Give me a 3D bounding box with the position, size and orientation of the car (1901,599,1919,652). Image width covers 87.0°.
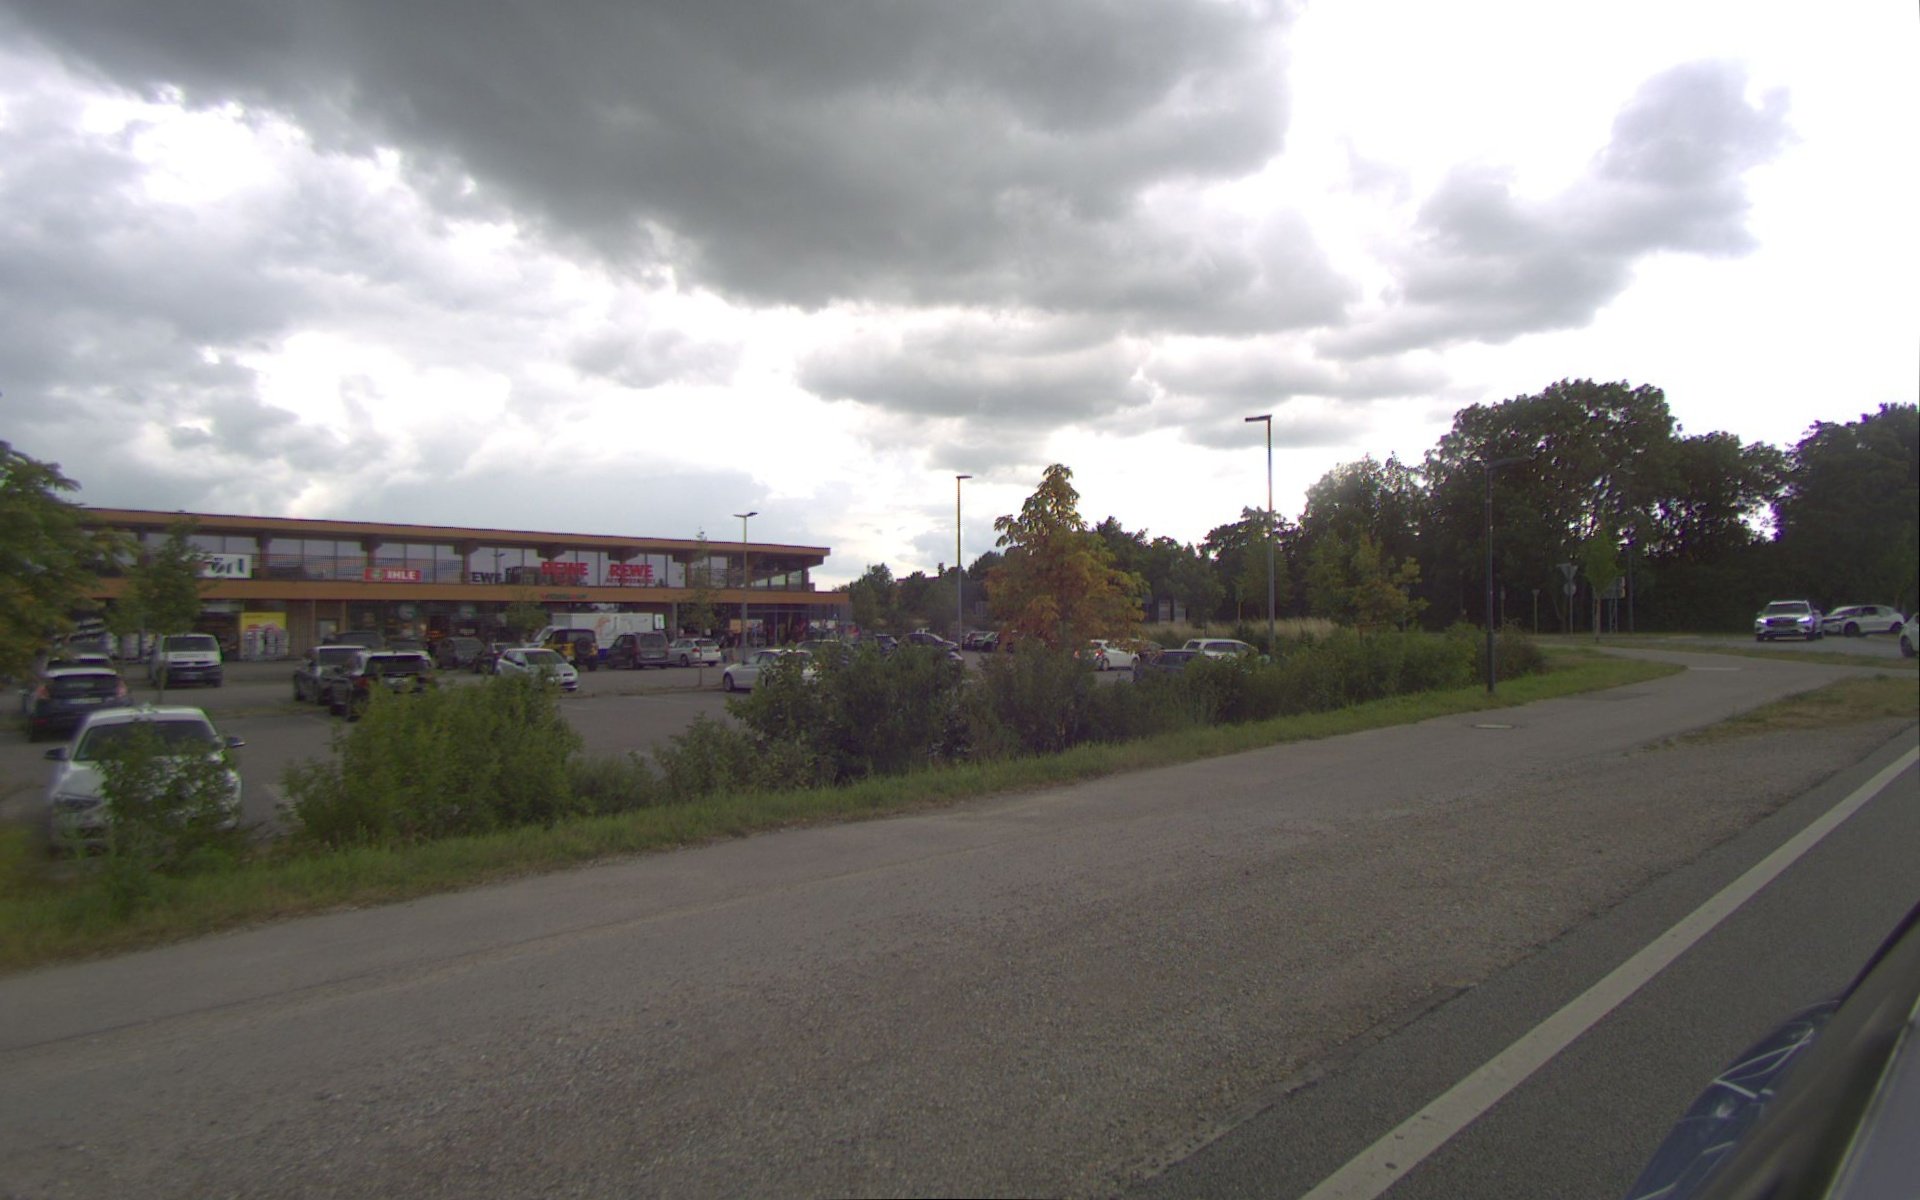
[{"bbox_3d":[28.907,0.749,28.490,1.846,1.561,4.176,-1,-1,17],"label":"car"}]

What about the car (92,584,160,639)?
[{"bbox_3d":[-33.703,0.411,40.844,1.965,2.039,5.137,1,1,-41],"label":"car"}]

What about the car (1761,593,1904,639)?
[{"bbox_3d":[34.728,0.607,40.436,3.965,1.705,1.979,1,0,29],"label":"car"}]

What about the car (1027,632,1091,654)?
[{"bbox_3d":[6.614,2.859,67.734,3.916,1.377,1.705,1,0,-13],"label":"car"}]

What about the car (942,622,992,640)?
[{"bbox_3d":[0.579,2.599,84.200,3.916,1.377,1.705,1,0,-13],"label":"car"}]

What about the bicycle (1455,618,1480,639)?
[{"bbox_3d":[25.267,1.415,50.374,0.557,0.974,1.301,1,0,0],"label":"bicycle"}]

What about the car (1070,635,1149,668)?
[{"bbox_3d":[7.280,2.451,49.100,1.839,1.377,3.935,1,1,45],"label":"car"}]

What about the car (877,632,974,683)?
[{"bbox_3d":[-1.284,2.067,36.887,1.771,1.728,3.385,1,-3,-41],"label":"car"}]

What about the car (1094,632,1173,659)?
[{"bbox_3d":[9.500,2.477,55.465,3.916,1.377,1.705,1,0,-13],"label":"car"}]

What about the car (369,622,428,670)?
[{"bbox_3d":[-26.602,2.128,47.876,1.962,2.039,3.999,1,0,-36],"label":"car"}]

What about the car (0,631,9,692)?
[{"bbox_3d":[-33.390,2.144,33.707,1.962,2.039,3.999,1,0,-36],"label":"car"}]

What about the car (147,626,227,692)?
[{"bbox_3d":[-28.317,2.082,37.011,1.965,2.039,5.137,1,1,-41],"label":"car"}]

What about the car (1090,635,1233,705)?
[{"bbox_3d":[5.881,1.998,29.874,1.629,1.727,3.993,1,1,-41],"label":"car"}]

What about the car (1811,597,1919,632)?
[{"bbox_3d":[42.577,0.677,47.588,3.693,1.538,2.003,1,0,-10],"label":"car"}]

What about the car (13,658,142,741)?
[{"bbox_3d":[-19.197,2.073,22.076,1.965,1.460,3.993,0,-1,-41],"label":"car"}]

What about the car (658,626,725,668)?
[{"bbox_3d":[-13.754,2.357,51.698,2.032,1.871,3.999,1,1,-36],"label":"car"}]

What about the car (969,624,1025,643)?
[{"bbox_3d":[2.758,2.526,76.005,3.916,1.377,1.705,1,0,-13],"label":"car"}]

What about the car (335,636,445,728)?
[{"bbox_3d":[-14.482,1.976,25.610,1.962,1.894,4.274,1,1,-36],"label":"car"}]

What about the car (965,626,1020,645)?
[{"bbox_3d":[2.495,2.745,78.495,3.916,1.377,1.705,1,0,-13],"label":"car"}]

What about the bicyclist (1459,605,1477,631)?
[{"bbox_3d":[25.279,0.887,50.384,0.545,1.259,0.659,1,0,0],"label":"bicyclist"}]

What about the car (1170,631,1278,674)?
[{"bbox_3d":[11.327,2.225,43.466,4.154,1.738,1.705,1,0,-13],"label":"car"}]

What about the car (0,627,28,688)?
[{"bbox_3d":[-36.655,2.131,37.995,1.962,2.039,3.999,1,0,-36],"label":"car"}]

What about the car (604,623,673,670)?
[{"bbox_3d":[-15.659,2.206,49.149,2.032,2.039,3.999,1,0,-36],"label":"car"}]

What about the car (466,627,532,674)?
[{"bbox_3d":[-20.910,2.262,45.811,1.962,2.040,3.998,1,-2,-36],"label":"car"}]

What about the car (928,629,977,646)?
[{"bbox_3d":[-0.633,3.188,87.018,3.916,1.377,1.705,1,0,-13],"label":"car"}]

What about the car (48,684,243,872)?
[{"bbox_3d":[-10.068,2.002,12.423,1.647,1.557,3.761,1,1,-42],"label":"car"}]

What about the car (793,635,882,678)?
[{"bbox_3d":[-5.169,2.317,42.305,1.962,1.504,4.131,1,1,-36],"label":"car"}]

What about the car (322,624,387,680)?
[{"bbox_3d":[-25.025,2.079,41.767,1.962,2.039,3.999,1,0,-36],"label":"car"}]

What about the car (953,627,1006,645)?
[{"bbox_3d":[1.558,2.930,81.799,3.916,1.377,1.705,1,0,-13],"label":"car"}]

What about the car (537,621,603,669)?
[{"bbox_3d":[-18.430,2.062,47.700,1.962,2.039,3.999,1,0,-36],"label":"car"}]

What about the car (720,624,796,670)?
[{"bbox_3d":[-9.630,2.170,48.093,1.962,1.894,4.274,1,1,-36],"label":"car"}]

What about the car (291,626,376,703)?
[{"bbox_3d":[-19.344,1.911,31.171,1.962,2.039,3.999,1,0,-36],"label":"car"}]

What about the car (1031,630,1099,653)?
[{"bbox_3d":[6.663,2.628,64.072,3.916,1.377,1.705,1,0,-13],"label":"car"}]

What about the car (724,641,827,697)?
[{"bbox_3d":[-6.107,2.221,33.303,1.723,1.552,3.554,1,1,-41],"label":"car"}]

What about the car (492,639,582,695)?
[{"bbox_3d":[-14.536,2.230,34.665,1.962,1.571,4.131,1,1,-36],"label":"car"}]

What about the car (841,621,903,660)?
[{"bbox_3d":[-5.197,2.324,59.382,1.961,2.039,4.003,1,0,-32],"label":"car"}]
